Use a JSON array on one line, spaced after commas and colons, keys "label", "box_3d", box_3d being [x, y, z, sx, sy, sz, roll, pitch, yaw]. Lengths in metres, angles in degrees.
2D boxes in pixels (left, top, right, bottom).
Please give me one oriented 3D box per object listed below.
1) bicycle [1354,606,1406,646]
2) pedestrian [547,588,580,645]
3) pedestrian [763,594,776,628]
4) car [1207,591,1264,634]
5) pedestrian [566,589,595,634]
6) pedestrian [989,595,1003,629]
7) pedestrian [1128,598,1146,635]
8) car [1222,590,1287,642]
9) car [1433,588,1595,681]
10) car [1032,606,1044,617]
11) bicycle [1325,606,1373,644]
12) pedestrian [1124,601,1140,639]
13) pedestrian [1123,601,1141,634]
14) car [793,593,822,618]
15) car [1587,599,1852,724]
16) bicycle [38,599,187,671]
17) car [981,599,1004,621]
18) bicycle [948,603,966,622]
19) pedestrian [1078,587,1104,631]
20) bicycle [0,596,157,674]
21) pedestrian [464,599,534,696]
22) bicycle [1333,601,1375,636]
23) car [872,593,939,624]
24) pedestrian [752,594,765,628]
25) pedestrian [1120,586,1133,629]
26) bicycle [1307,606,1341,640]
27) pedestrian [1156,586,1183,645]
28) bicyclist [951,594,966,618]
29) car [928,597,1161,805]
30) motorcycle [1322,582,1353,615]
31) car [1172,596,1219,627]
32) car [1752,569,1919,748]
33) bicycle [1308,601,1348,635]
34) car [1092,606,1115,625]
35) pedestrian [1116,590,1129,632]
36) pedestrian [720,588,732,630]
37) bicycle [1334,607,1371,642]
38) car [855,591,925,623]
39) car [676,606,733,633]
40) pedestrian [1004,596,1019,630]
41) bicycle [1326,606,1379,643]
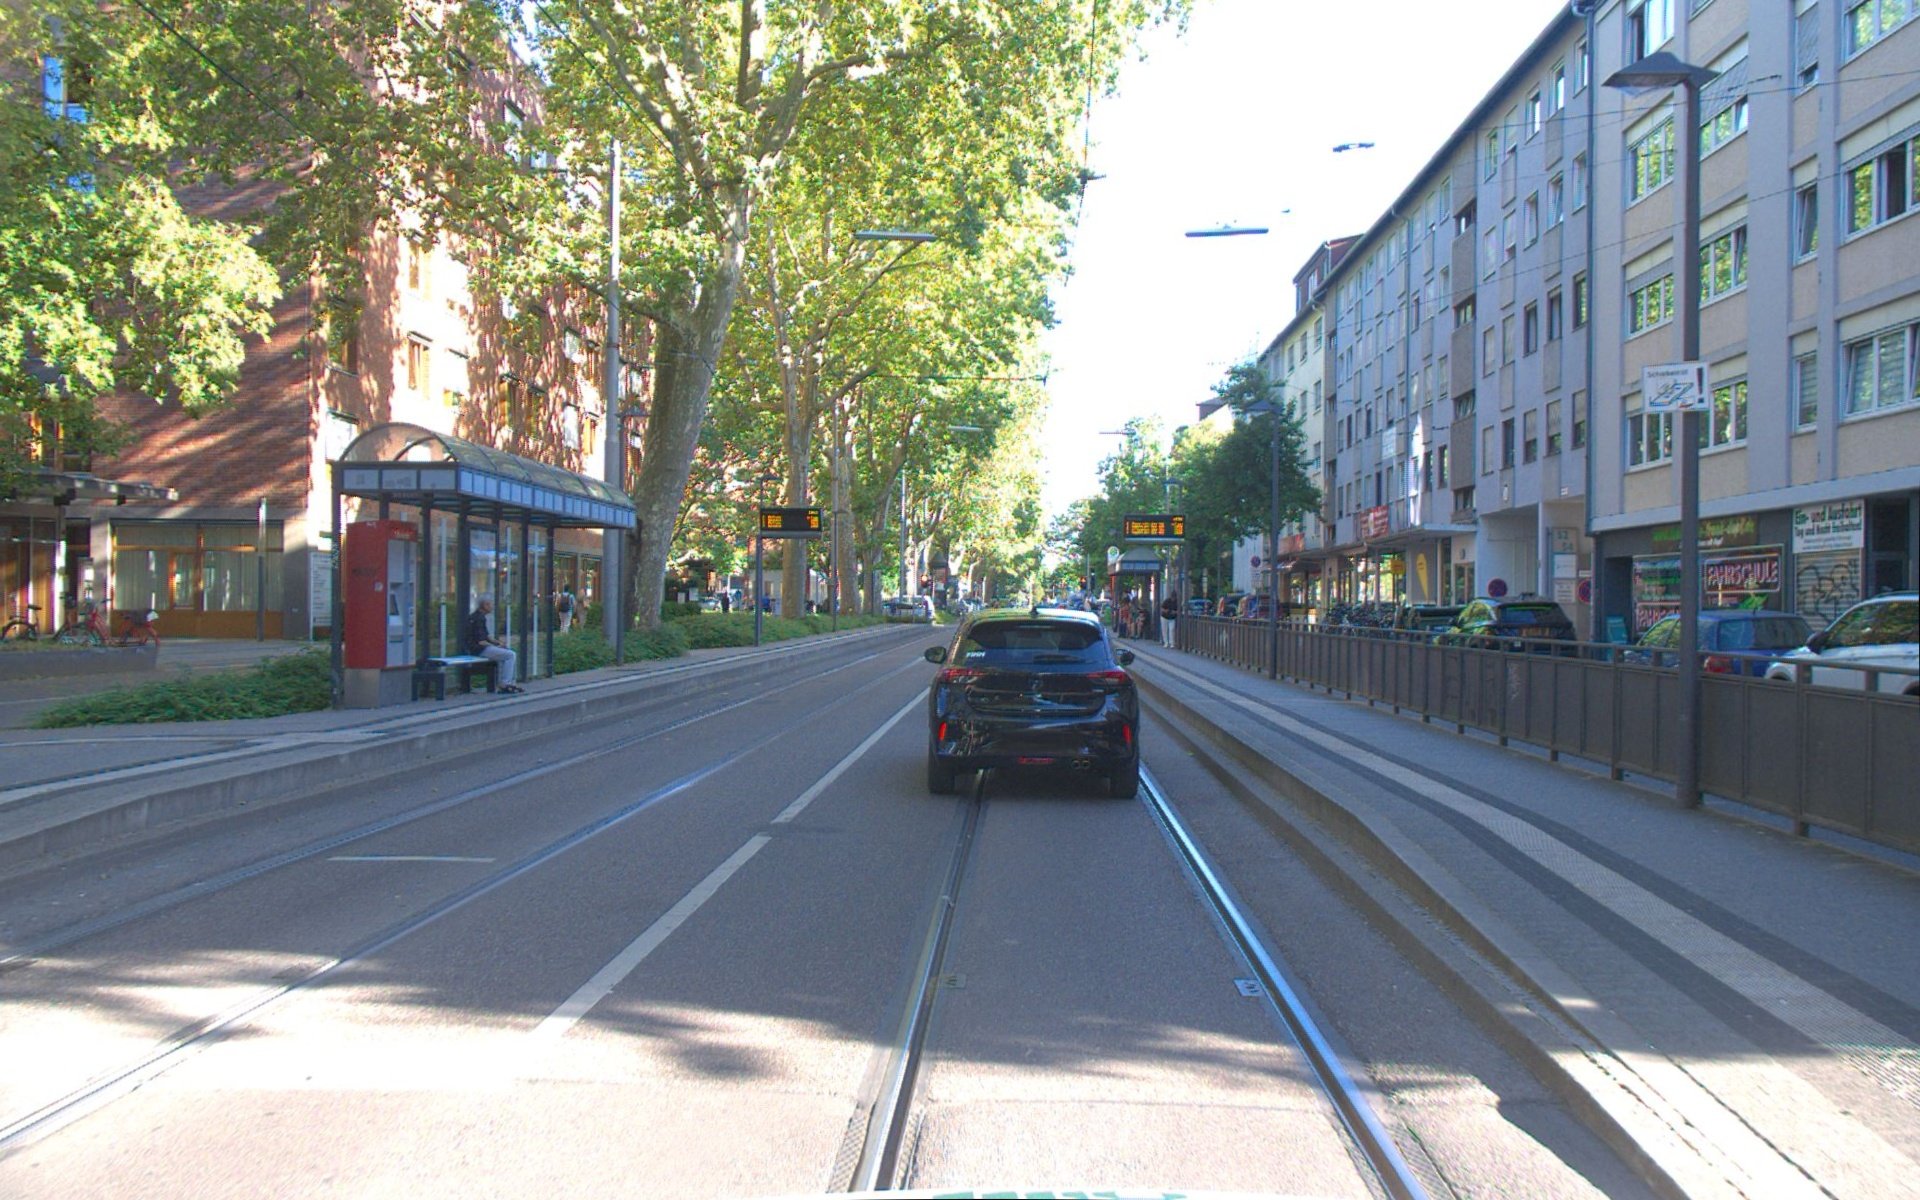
[{"label": "bicycle", "box_3d": [12.633, 0.778, 49.858, 0.610, 1.156, 2.434, 1, -1, -9]}, {"label": "pedestrian", "box_3d": [-11.981, 0.505, 49.970, 0.720, 1.701, 0.861, 1, -1, 2]}, {"label": "pedestrian", "box_3d": [-11.333, 0.648, 98.289, 0.658, 1.984, 0.498, 2, 0, -1]}, {"label": "car", "box_3d": [12.202, 0.573, 73.405, 1.952, 1.829, 4.001, 1, -1, 2]}, {"label": "pedestrian", "box_3d": [-14.011, 0.416, 61.089, 0.758, 1.633, 0.946, 1, -1, 2]}, {"label": "pedestrian", "box_3d": [2.199, 0.749, 101.057, 0.661, 2.049, 0.702, 2, 0, 8]}, {"label": "pedestrian", "box_3d": [6.126, 0.574, 57.231, 0.523, 1.252, 0.510, 1, -1, -2]}, {"label": "car", "box_3d": [11.844, 0.649, 66.741, 1.952, 1.986, 4.001, 1, -1, 2]}, {"label": "car", "box_3d": [10.636, 0.645, 32.096, 1.818, 1.644, 4.399, 1, -1, 2]}, {"label": "car", "box_3d": [11.800, 1.712, 250.666, 1.709, 1.571, 4.000, 1, -1, 1]}, {"label": "bicycle", "box_3d": [12.279, 0.791, 52.309, 0.591, 1.156, 2.430, 1, -1, -9]}, {"label": "pedestrian", "box_3d": [6.087, 0.717, 58.559, 0.492, 1.327, 0.428, 1, -1, -2]}, {"label": "pedestrian", "box_3d": [6.018, 0.604, 57.876, 0.523, 1.119, 0.550, 1, -1, -2]}, {"label": "car", "box_3d": [-13.037, 0.508, 141.690, 1.952, 2.049, 4.001, 1, -1, 2]}, {"label": "car", "box_3d": [9.939, 0.757, 22.011, 1.707, 1.465, 4.248, 1, -1, 2]}, {"label": "bicycle", "box_3d": [-15.179, 0.620, 29.658, 2.291, 1.186, 0.682, 2, -1, 3]}, {"label": "car", "box_3d": [2.438, 0.752, 125.477, 1.709, 1.571, 4.000, 1, -1, 1]}, {"label": "bicycle", "box_3d": [-0.203, 0.881, 117.029, 0.935, 1.262, 2.979, 1, -1, 5]}, {"label": "pedestrian", "box_3d": [5.181, 0.351, 65.483, 0.737, 1.739, 0.760, 1, -1, 37]}, {"label": "bicycle", "box_3d": [-15.423, 0.601, 28.903, 2.407, 1.240, 0.682, 2, -1, 3]}, {"label": "pedestrian", "box_3d": [-5.788, 0.590, 20.794, 0.691, 1.189, 0.659, -1, -1, -1]}, {"label": "bicycle", "box_3d": [13.426, 0.619, 56.407, 0.586, 1.156, 2.199, 1, -1, -9]}, {"label": "car", "box_3d": [-3.573, 0.563, 108.565, 4.299, 1.884, 1.998, 1, -1, -5]}, {"label": "pedestrian", "box_3d": [-12.089, 0.662, 99.212, 0.658, 1.984, 0.498, 2, 0, -1]}, {"label": "pedestrian", "box_3d": [7.085, 0.317, 70.515, 0.520, 1.793, 0.662, 1, -1, 5]}, {"label": "bicycle", "box_3d": [12.942, 0.808, 58.872, 0.585, 1.156, 2.202, 1, -1, -3]}, {"label": "pedestrian", "box_3d": [5.869, 0.436, 46.443, 0.617, 1.603, 0.871, 3, 0, 2]}, {"label": "bicyclist", "box_3d": [-0.116, 0.439, 117.936, 0.921, 1.733, 1.153, 1, -1, 5]}, {"label": "car", "box_3d": [0.632, 0.765, 14.067, 1.723, 1.534, 3.683, 0, -1, 0]}, {"label": "motorcycle", "box_3d": [15.246, -0.061, 66.824, 0.873, 1.302, 2.043, 1, -1, 2]}, {"label": "car", "box_3d": [12.157, 0.609, 85.573, 1.952, 1.512, 4.001, 1, -1, 2]}, {"label": "car", "box_3d": [9.722, 0.566, 16.407, 1.762, 1.634, 4.416, 1, -1, 2]}, {"label": "bicycle", "box_3d": [12.773, 0.615, 57.444, 0.586, 1.156, 2.199, 1, -1, -9]}, {"label": "car", "box_3d": [13.013, 1.366, 150.098, 1.952, 1.661, 4.001, 1, -1, 2]}, {"label": "pedestrian", "box_3d": [6.824, 0.454, 69.494, 0.520, 1.739, 0.752, 1, -1, 5]}, {"label": "pedestrian", "box_3d": [-11.272, 0.442, 79.686, 0.487, 1.984, 0.672, 1, -1, -10]}, {"label": "bicycle", "box_3d": [13.117, 0.808, 55.289, 0.402, 1.156, 2.199, 1, -1, -9]}, {"label": "car", "box_3d": [-4.110, 0.410, 96.860, 4.033, 1.731, 1.882, 1, -1, -5]}, {"label": "car", "box_3d": [-20.661, 1.580, 133.746, 4.161, 2.049, 2.000, 1, -1, 2]}, {"label": "pedestrian", "box_3d": [3.129, 0.781, 100.701, 0.661, 2.049, 0.702, 2, 0, 14]}, {"label": "bicycle", "box_3d": [12.732, 0.790, 53.756, 0.600, 1.156, 2.915, 1, -1, -9]}]
